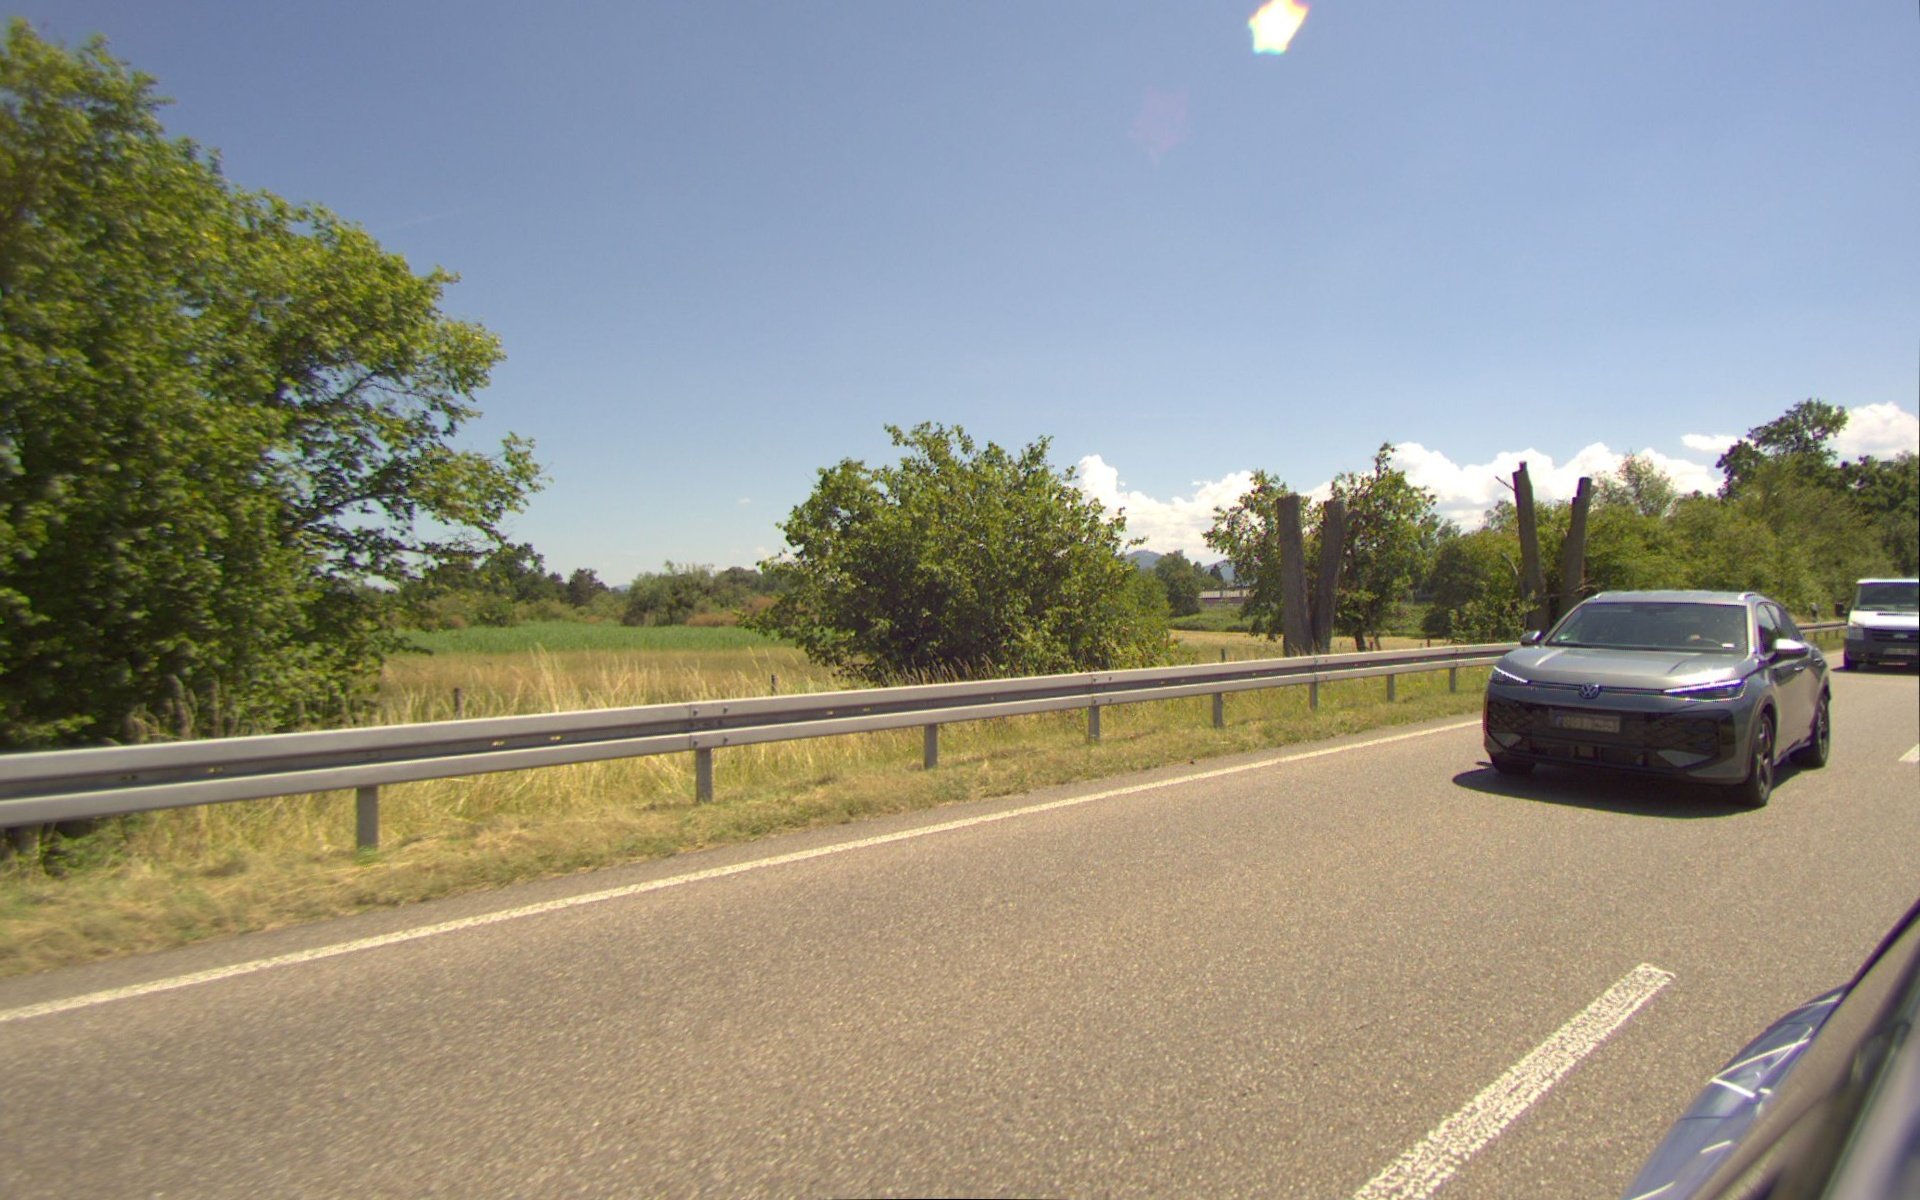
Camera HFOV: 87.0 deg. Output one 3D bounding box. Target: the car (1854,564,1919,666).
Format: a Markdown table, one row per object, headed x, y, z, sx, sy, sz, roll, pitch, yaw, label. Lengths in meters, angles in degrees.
| x | y | z | sx | sy | sz | roll | pitch | yaw | label |
| --- | --- | --- | --- | --- | --- | --- | --- | --- | --- |
| 20.943 | 0.315 | 21.772 | 4.947 | 2.014 | 2.008 | 1 | -1 | -42 | car |

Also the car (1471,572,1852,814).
| x | y | z | sx | sy | sz | roll | pitch | yaw | label |
| --- | --- | --- | --- | --- | --- | --- | --- | --- | --- |
| 6.064 | 0.606 | 8.573 | 3.949 | 1.573 | 1.788 | 1 | 0 | -42 | car |
